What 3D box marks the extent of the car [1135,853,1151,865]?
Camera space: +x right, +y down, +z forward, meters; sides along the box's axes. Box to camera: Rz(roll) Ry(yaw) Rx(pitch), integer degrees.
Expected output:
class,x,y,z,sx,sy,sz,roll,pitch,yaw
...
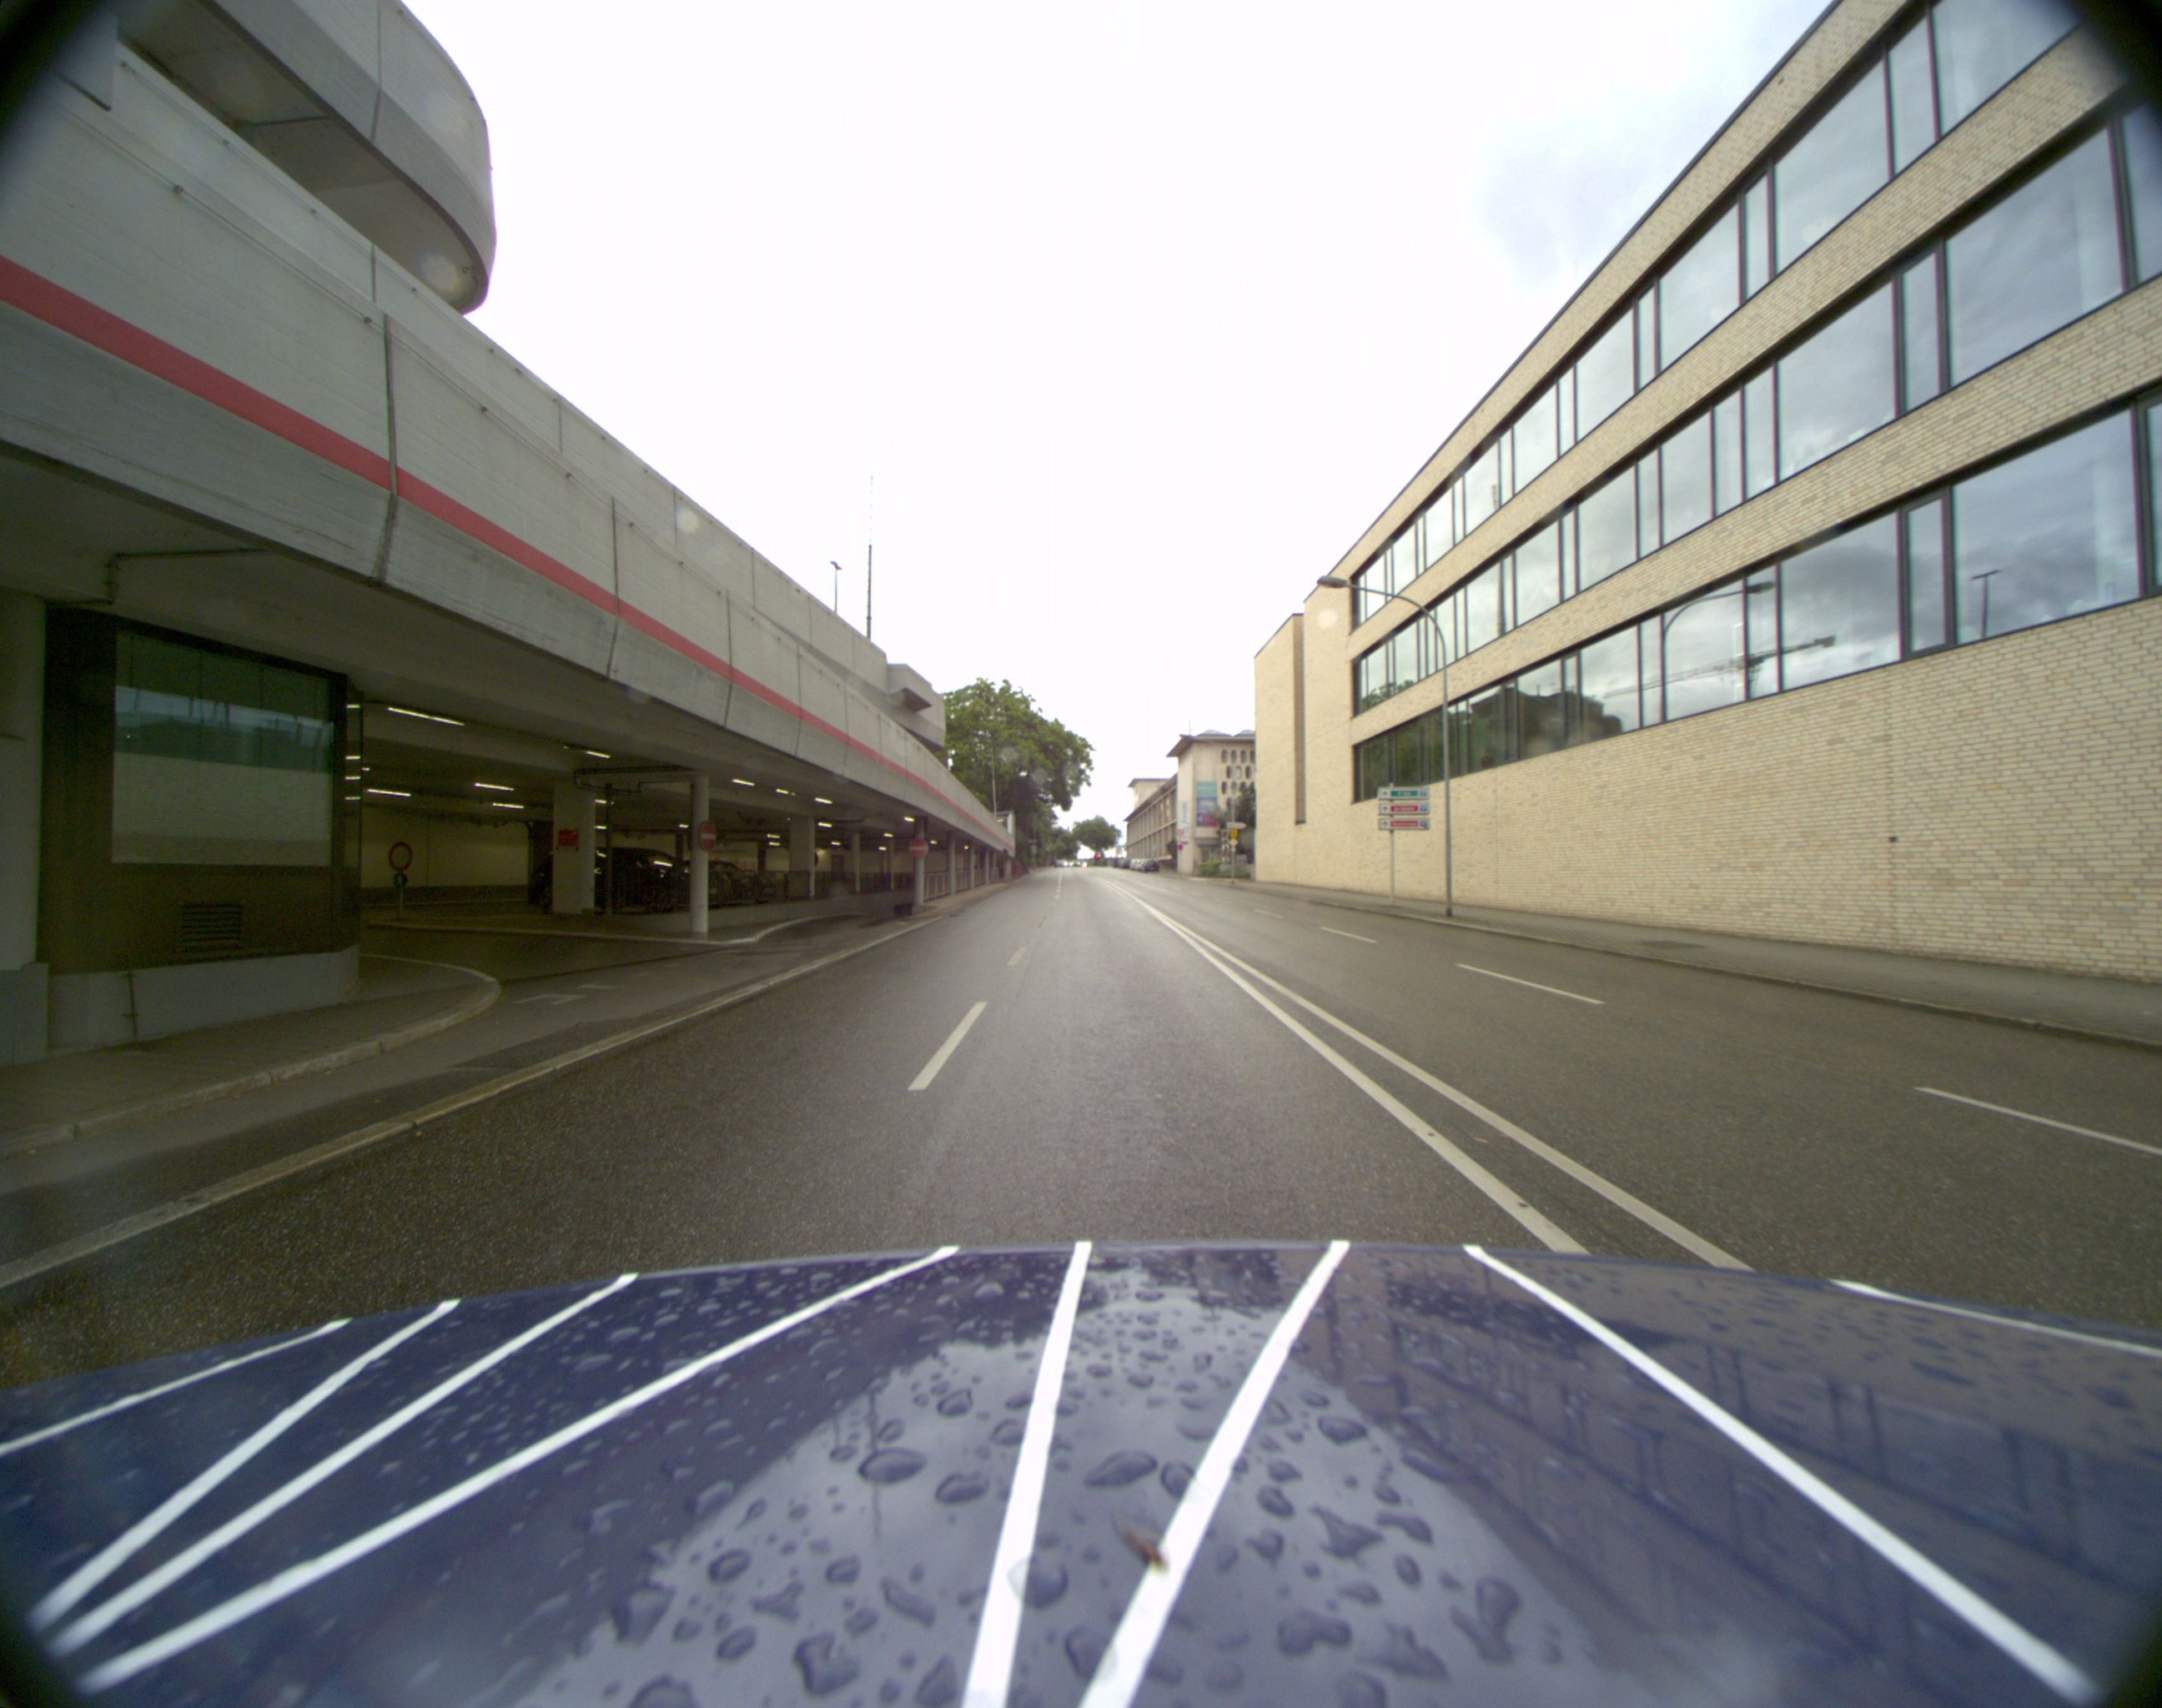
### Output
class,x,y,z,sx,sy,sz,roll,pitch,yaw
car,8.313,0.708,102.063,1.800,1.516,4.056,-2,-1,1

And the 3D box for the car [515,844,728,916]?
class,x,y,z,sx,sy,sz,roll,pitch,yaw
car,-11.389,0.696,18.982,4.251,1.650,2.003,-1,-4,10

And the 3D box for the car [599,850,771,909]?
class,x,y,z,sx,sy,sz,roll,pitch,yaw
car,-11.919,0.819,23.005,4.251,1.650,2.003,-1,-4,10

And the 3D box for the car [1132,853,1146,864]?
class,x,y,z,sx,sy,sz,roll,pitch,yaw
car,8.590,0.706,113.043,1.800,1.516,4.056,-2,-1,1

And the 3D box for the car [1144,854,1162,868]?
class,x,y,z,sx,sy,sz,roll,pitch,yaw
car,8.572,0.836,91.003,1.800,1.516,4.056,-2,-1,1

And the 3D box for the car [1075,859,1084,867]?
class,x,y,z,sx,sy,sz,roll,pitch,yaw
car,-0.274,1.928,162.347,1.852,1.516,3.990,-2,-1,1

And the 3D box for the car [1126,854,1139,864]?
class,x,y,z,sx,sy,sz,roll,pitch,yaw
car,8.273,0.798,121.558,1.800,1.516,4.056,-2,-1,1

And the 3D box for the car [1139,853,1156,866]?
class,x,y,z,sx,sy,sz,roll,pitch,yaw
car,8.423,0.712,96.512,1.800,1.516,4.056,-2,-1,1

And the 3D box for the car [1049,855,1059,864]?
class,x,y,z,sx,sy,sz,roll,pitch,yaw
car,-5.258,1.084,146.402,1.683,1.516,3.990,-2,-1,1

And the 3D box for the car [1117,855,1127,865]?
class,x,y,z,sx,sy,sz,roll,pitch,yaw
car,7.660,1.128,142.565,1.698,1.715,3.756,-2,1,1

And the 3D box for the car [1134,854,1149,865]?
class,x,y,z,sx,sy,sz,roll,pitch,yaw
car,8.435,0.781,106.875,1.800,1.516,4.056,-2,-1,1
